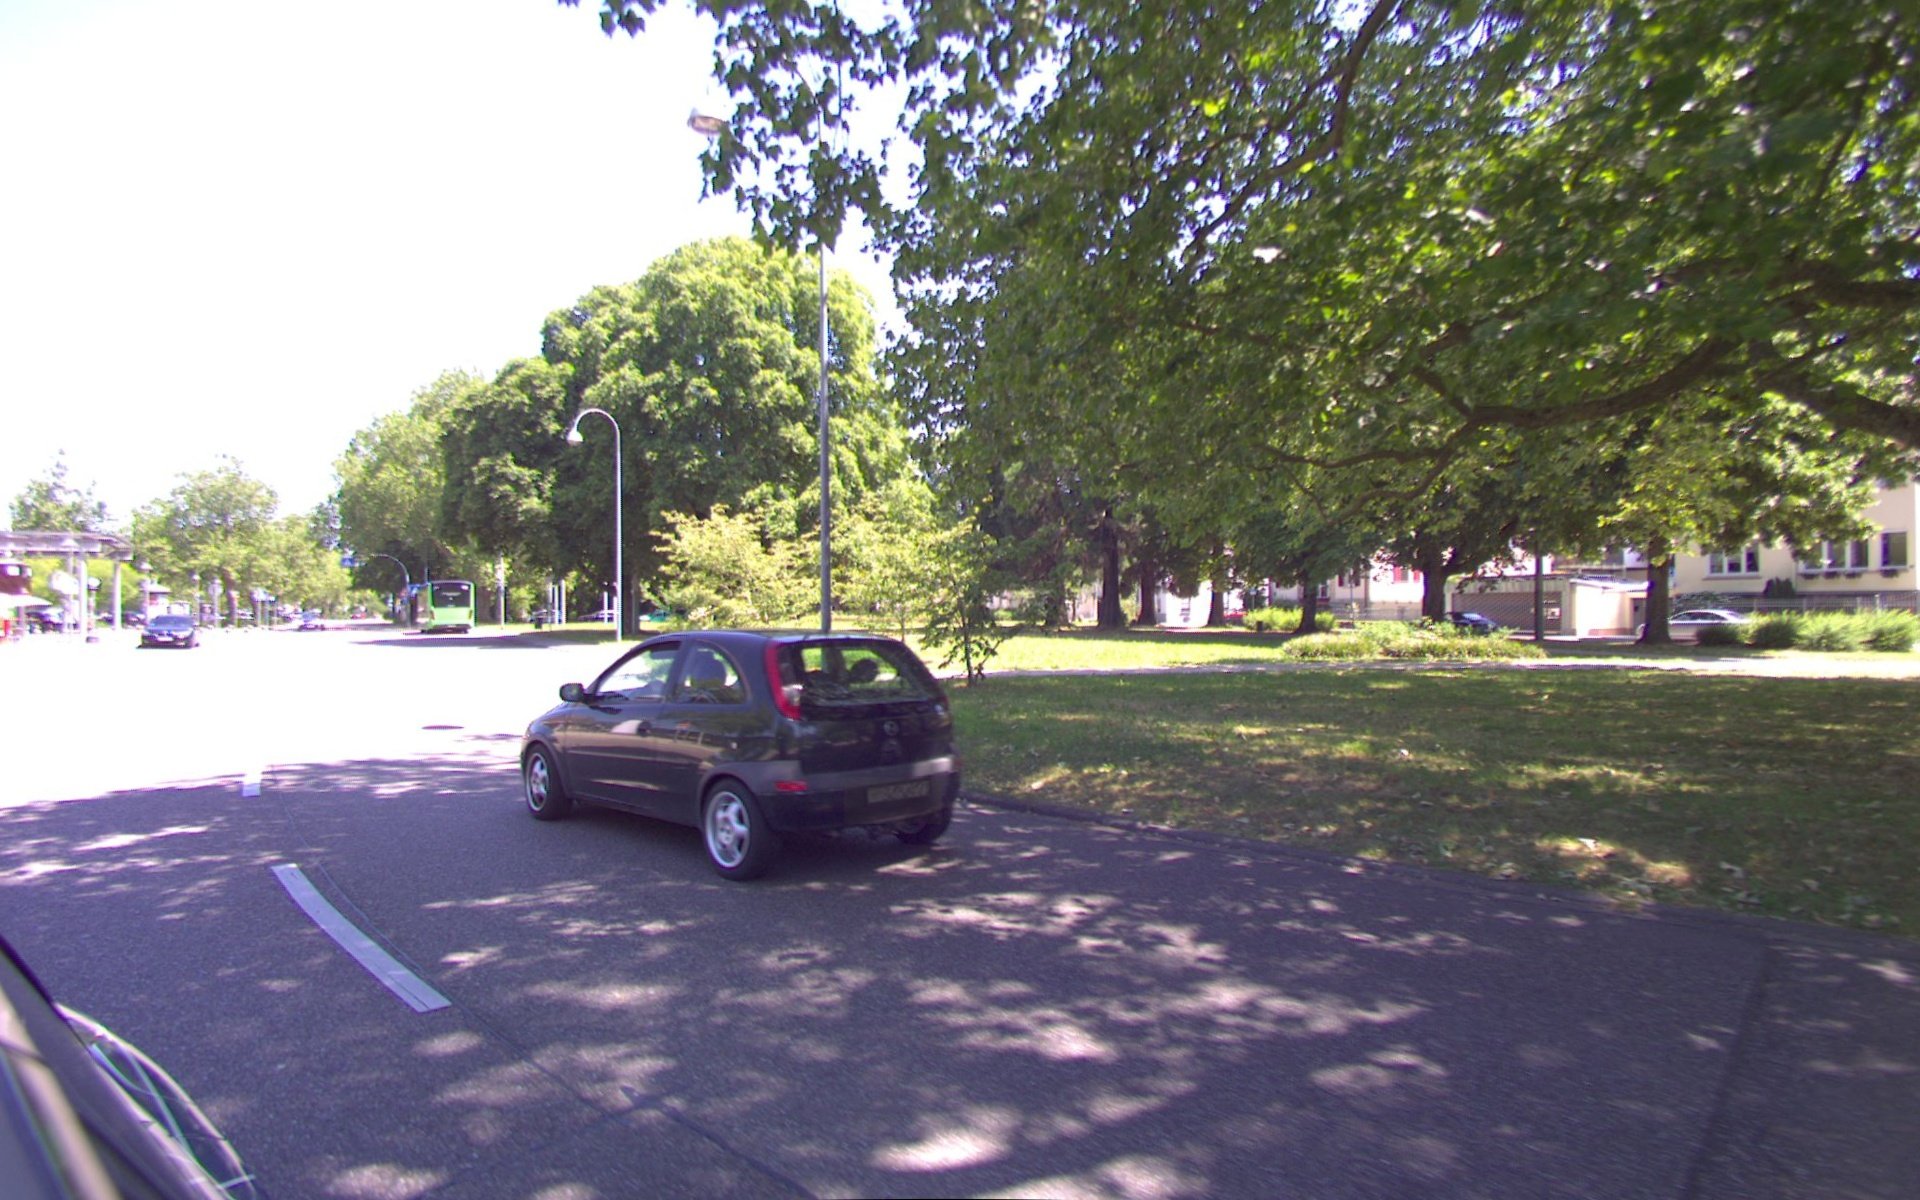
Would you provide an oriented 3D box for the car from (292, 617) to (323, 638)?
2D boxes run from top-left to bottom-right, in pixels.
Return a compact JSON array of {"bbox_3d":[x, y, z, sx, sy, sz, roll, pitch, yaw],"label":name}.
[{"bbox_3d":[-48.944,2.062,75.989,1.749,1.557,4.195,2,-2,-30],"label":"car"}]

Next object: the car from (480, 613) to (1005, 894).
[{"bbox_3d":[-1.726,0.852,7.137,4.000,1.428,1.623,-2,-3,43],"label":"car"}]

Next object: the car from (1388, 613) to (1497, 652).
[{"bbox_3d":[23.728,1.562,49.929,1.966,1.792,4.520,0,-1,-30],"label":"car"}]

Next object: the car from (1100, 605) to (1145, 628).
[{"bbox_3d":[13.447,1.349,84.115,1.965,1.792,4.013,-1,-1,-20],"label":"car"}]

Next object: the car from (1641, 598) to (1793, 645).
[{"bbox_3d":[30.428,0.848,40.858,1.965,1.792,4.521,0,-1,-21],"label":"car"}]

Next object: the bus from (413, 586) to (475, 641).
[{"bbox_3d":[-34.125,0.900,66.670,2.768,3.328,11.892,0,-1,-31],"label":"bus"}]

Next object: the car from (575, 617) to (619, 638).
[{"bbox_3d":[-36.721,2.753,102.268,3.931,2.029,2.006,0,-1,-28],"label":"car"}]

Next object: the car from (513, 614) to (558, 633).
[{"bbox_3d":[-41.901,2.282,100.003,3.931,1.817,2.006,0,-1,-28],"label":"car"}]

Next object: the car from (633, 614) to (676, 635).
[{"bbox_3d":[-31.861,2.536,105.415,3.932,2.029,2.006,0,-1,-31],"label":"car"}]

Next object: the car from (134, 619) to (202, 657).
[{"bbox_3d":[-34.537,1.634,44.243,1.749,1.557,4.195,2,-2,-30],"label":"car"}]
